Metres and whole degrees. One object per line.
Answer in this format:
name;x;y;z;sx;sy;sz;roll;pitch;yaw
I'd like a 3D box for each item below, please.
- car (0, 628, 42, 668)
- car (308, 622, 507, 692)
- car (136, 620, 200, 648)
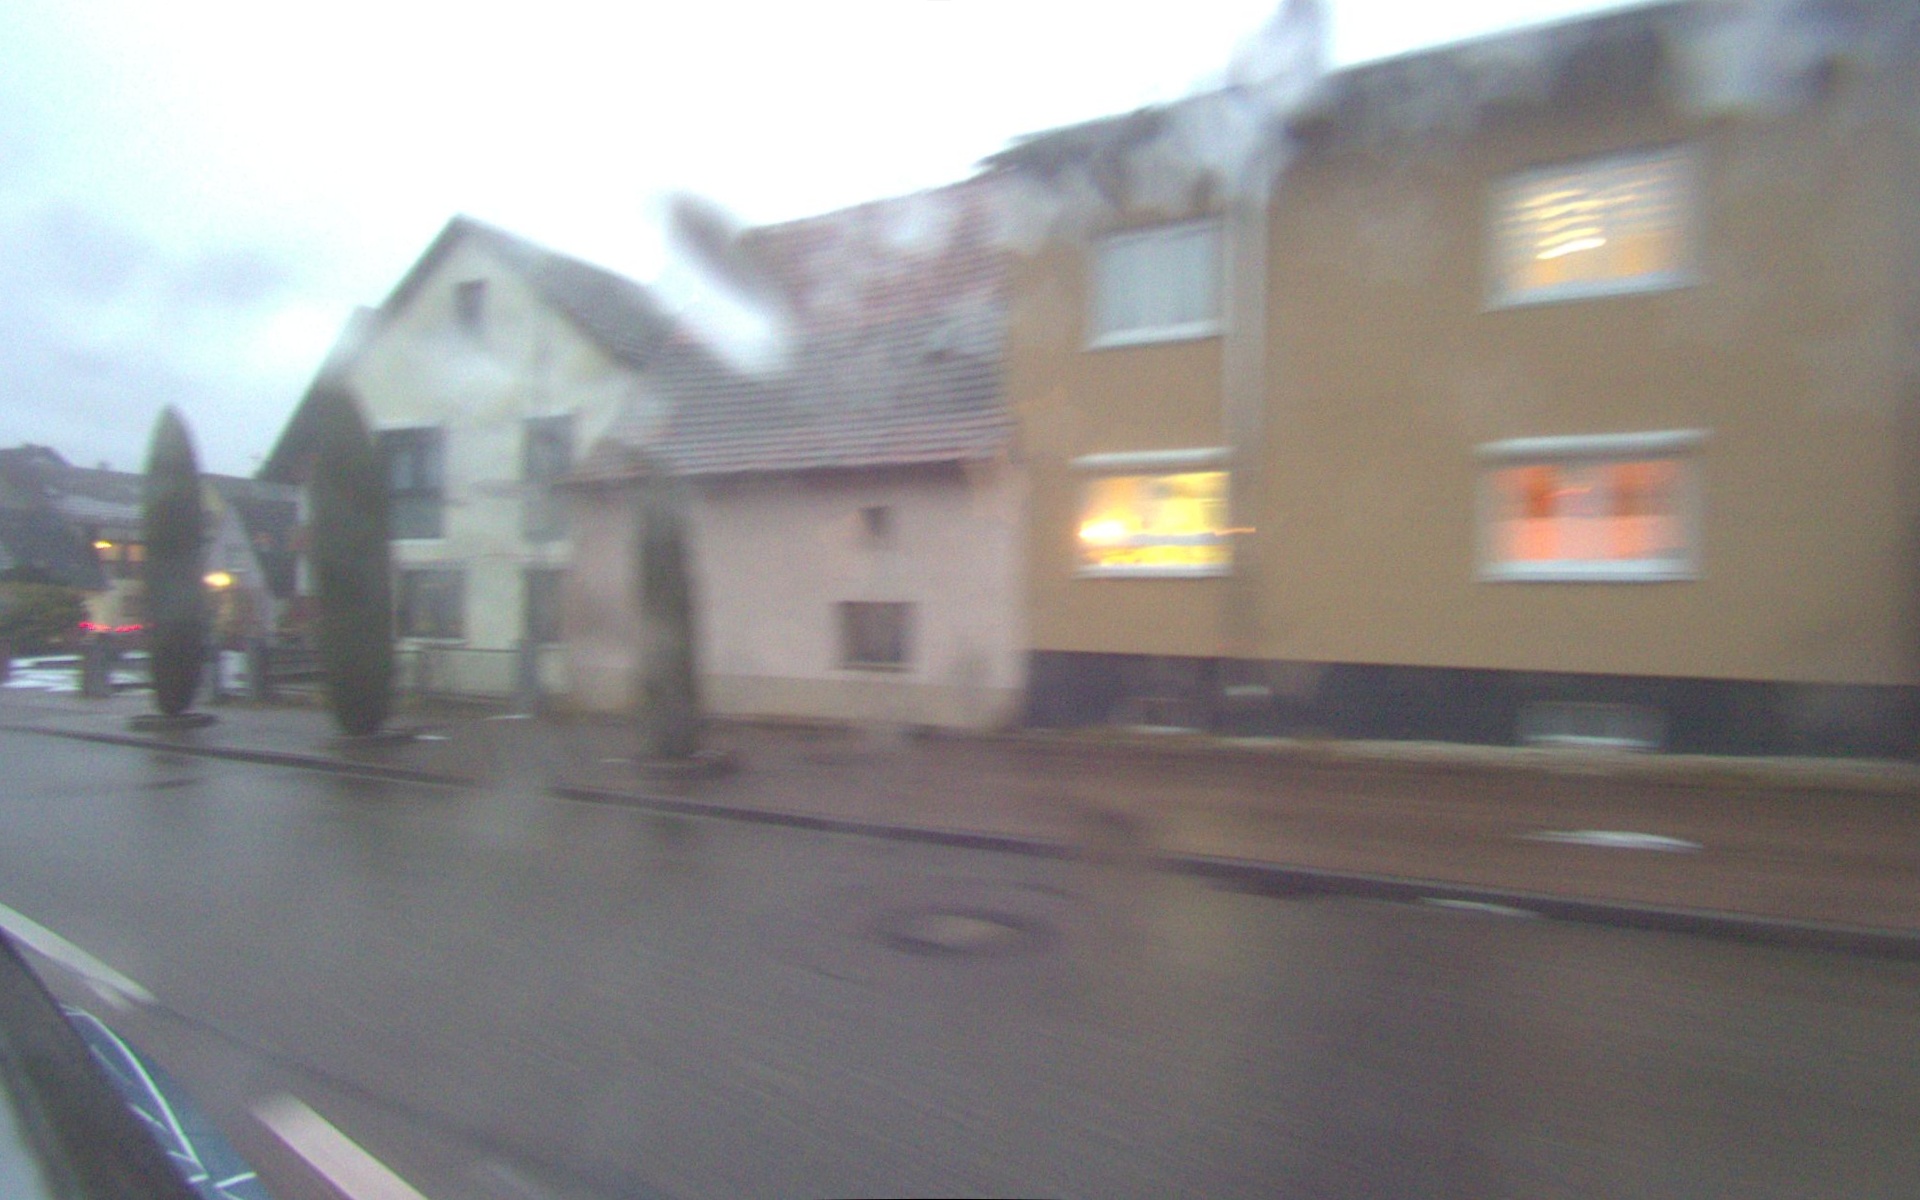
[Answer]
car;-40.551;1.990;41.831;1.852;1.625;4.614;1;-2;-14
car;-13.074;1.282;24.202;1.808;1.473;3.971;-1;-1;22
car;-49.058;2.087;62.686;3.469;1.517;1.637;3;0;23
